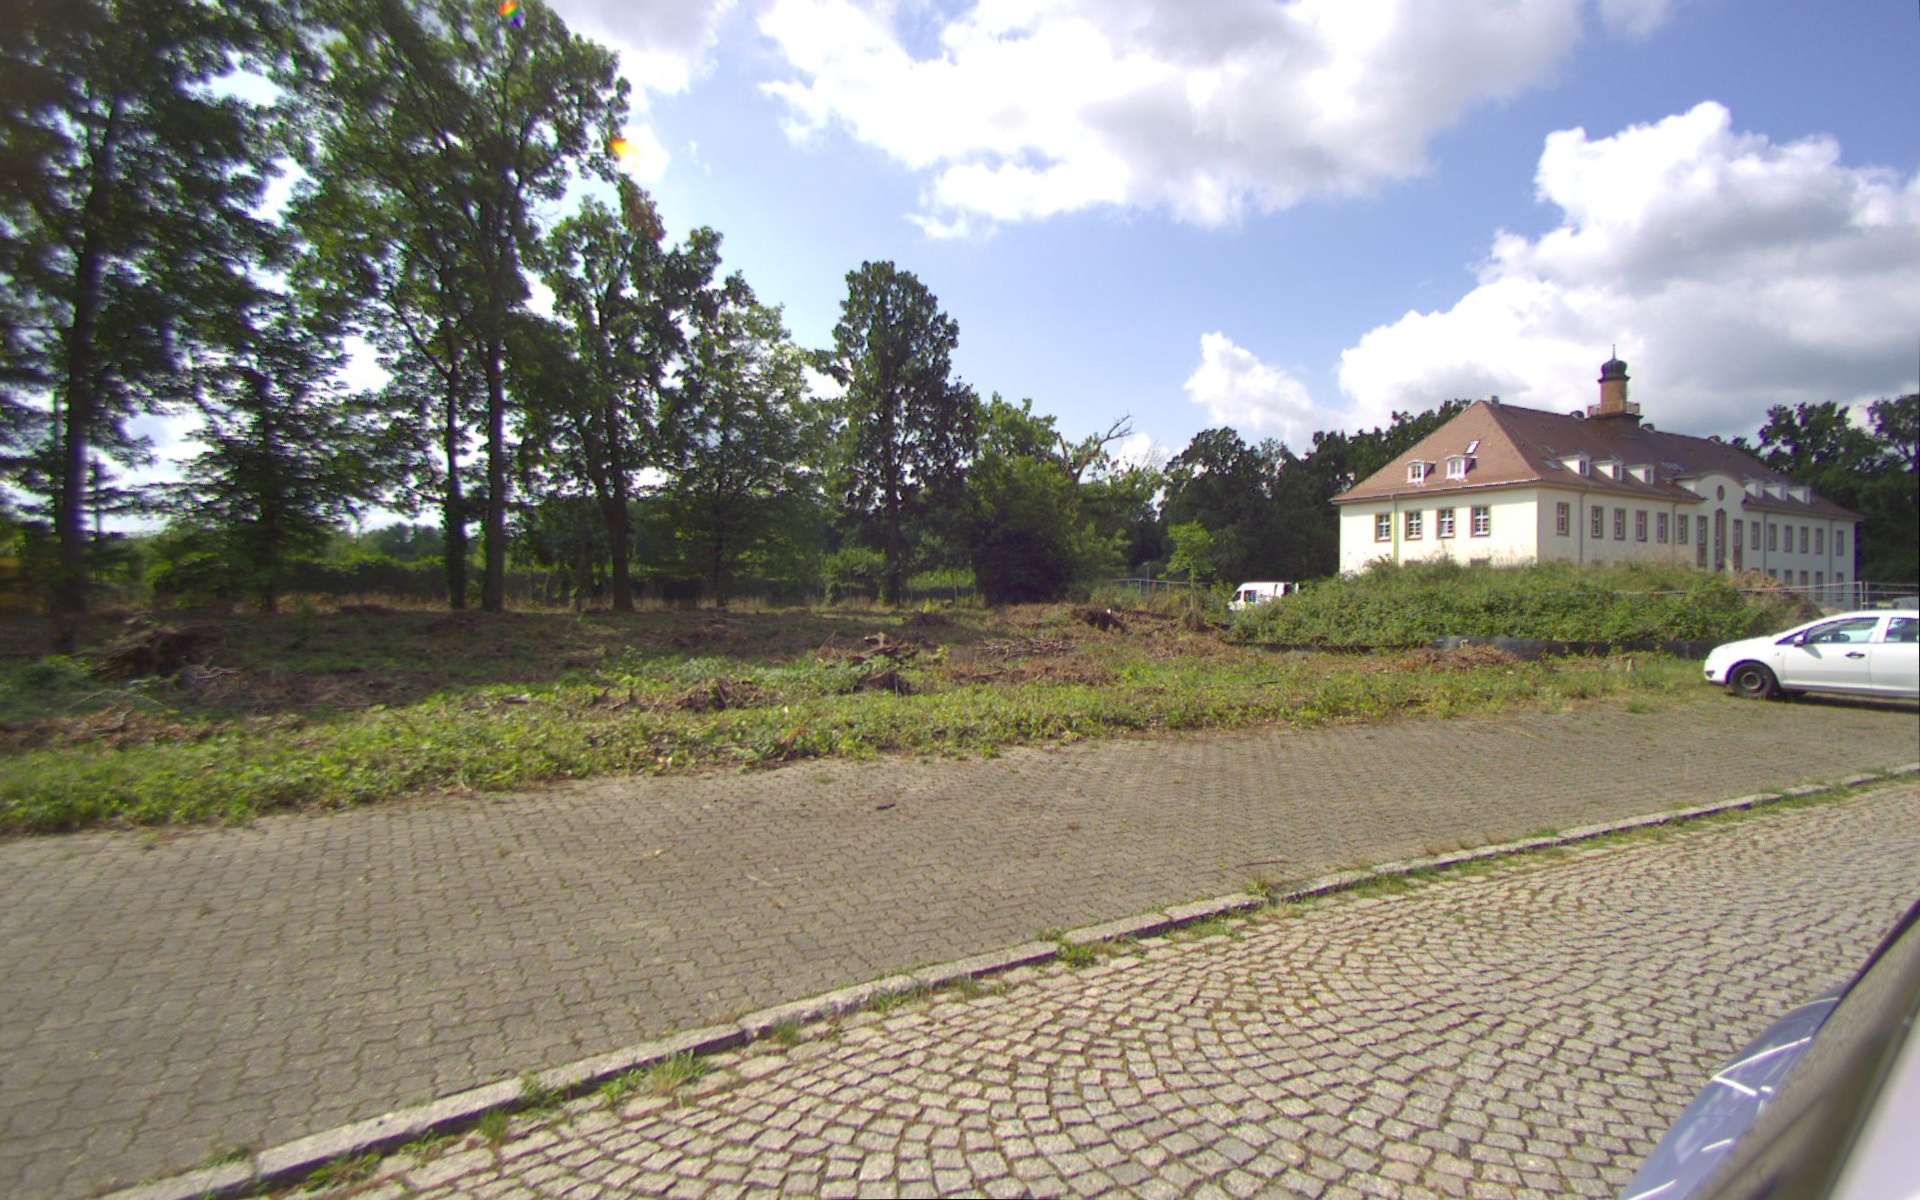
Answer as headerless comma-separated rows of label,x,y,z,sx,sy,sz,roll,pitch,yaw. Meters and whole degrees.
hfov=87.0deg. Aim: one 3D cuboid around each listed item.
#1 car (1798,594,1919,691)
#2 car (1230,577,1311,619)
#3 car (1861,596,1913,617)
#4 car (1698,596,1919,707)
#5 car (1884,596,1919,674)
car,16.596,0.733,16.631,1.712,1.525,4.004,0,2,-32
car,20.349,-0.164,66.676,2.200,2.623,5.449,0,1,-21
car,79.697,0.557,86.994,4.612,1.750,1.888,0,0,-28
car,13.914,0.747,15.329,1.670,1.482,4.059,0,2,-32
car,20.433,0.757,18.835,1.712,1.493,4.471,0,2,-33
